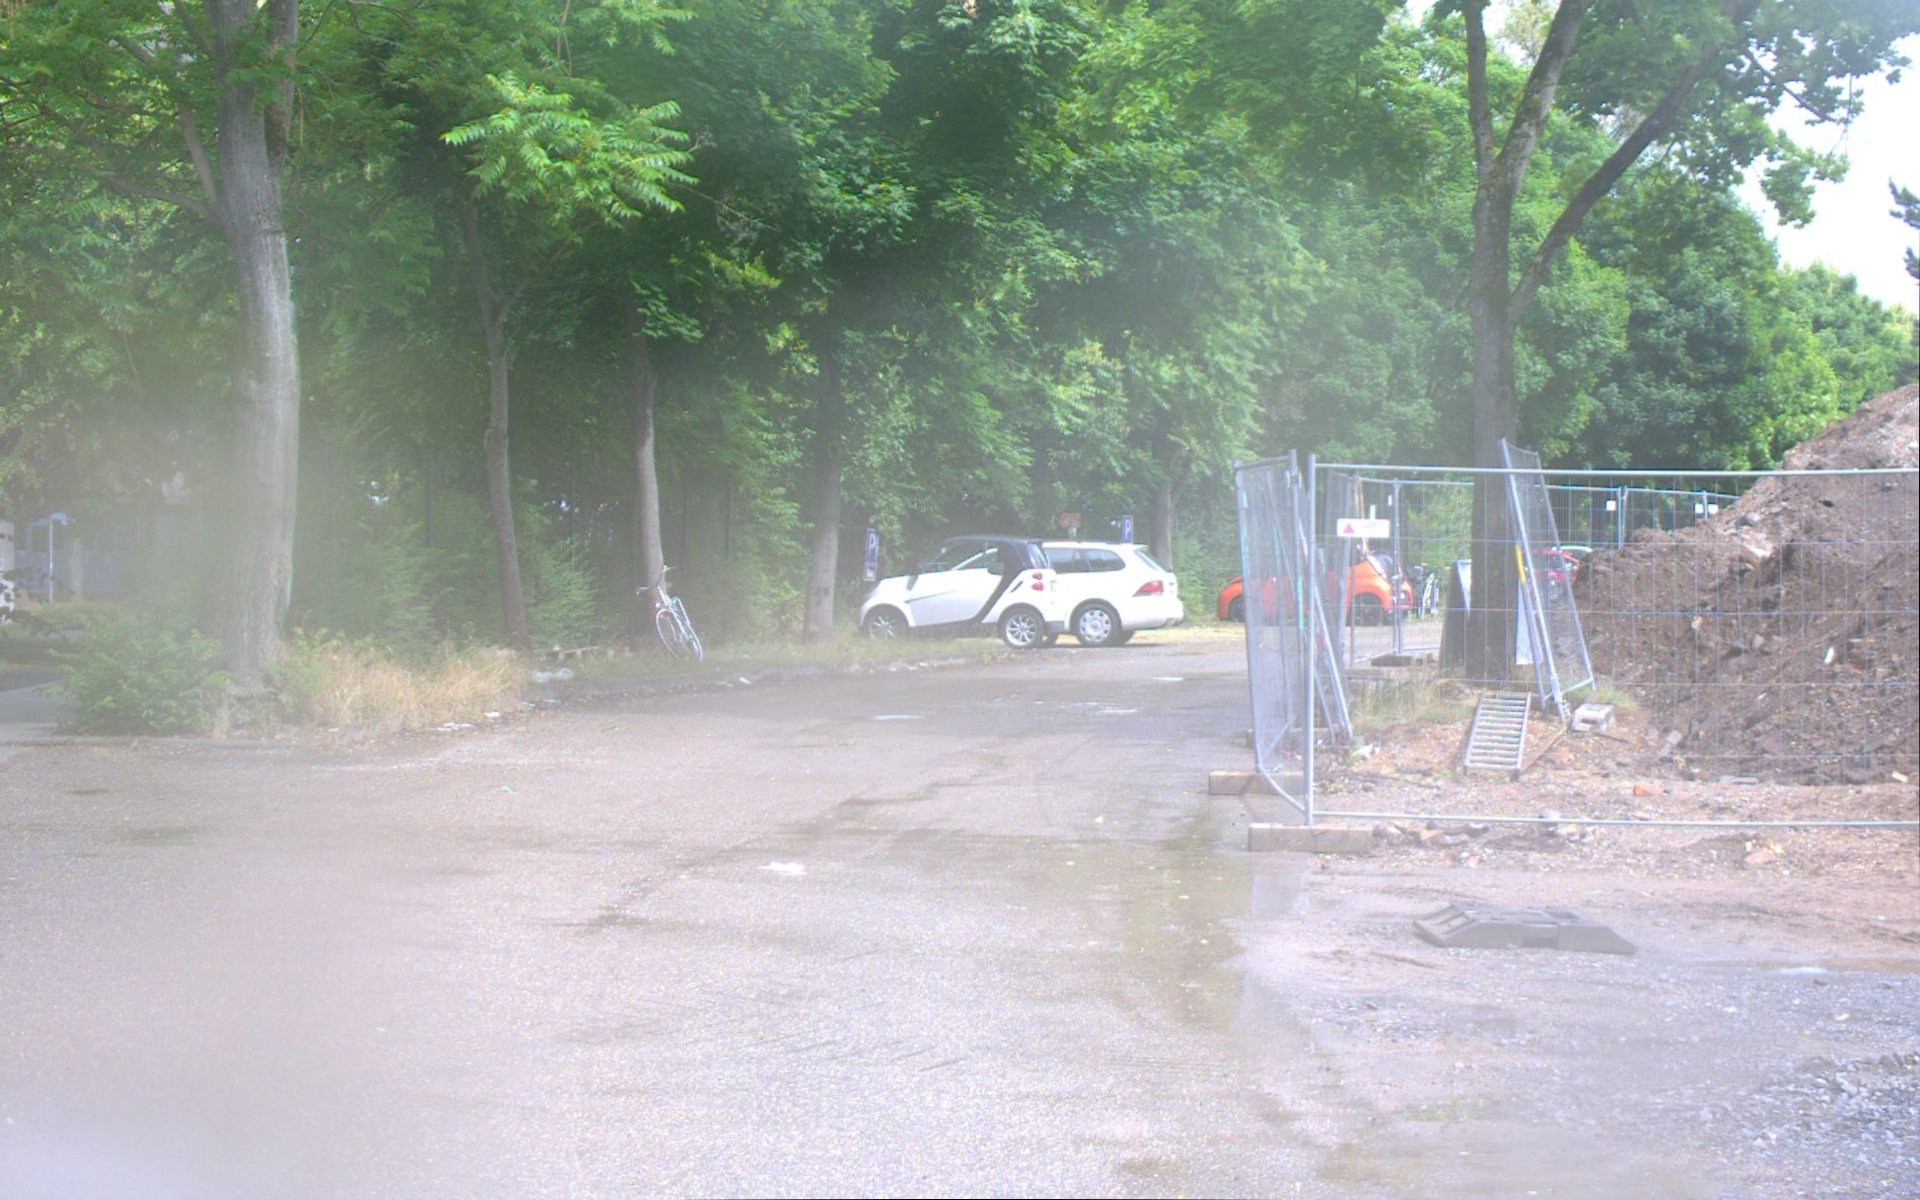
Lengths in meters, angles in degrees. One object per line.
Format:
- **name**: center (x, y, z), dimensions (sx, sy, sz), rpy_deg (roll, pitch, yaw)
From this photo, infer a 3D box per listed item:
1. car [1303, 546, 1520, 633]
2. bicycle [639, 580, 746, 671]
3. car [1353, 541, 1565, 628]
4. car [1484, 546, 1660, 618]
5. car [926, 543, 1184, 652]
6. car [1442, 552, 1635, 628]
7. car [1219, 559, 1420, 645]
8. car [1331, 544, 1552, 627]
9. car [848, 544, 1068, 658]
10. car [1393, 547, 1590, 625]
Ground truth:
- **car**: center (8.792, -0.231, 66.883), dimensions (3.797, 1.524, 1.907), rpy_deg (2, 2, 22)
- **bicycle**: center (-2.701, 0.250, 34.818), dimensions (0.476, 0.857, 1.454), rpy_deg (2, 2, 22)
- **car**: center (10.393, -0.336, 71.609), dimensions (4.111, 1.644, 1.845), rpy_deg (2, 2, 17)
- **car**: center (14.625, -0.450, 82.105), dimensions (3.860, 1.568, 1.956), rpy_deg (2, 2, 18)
- **car**: center (1.368, -0.054, 48.539), dimensions (3.433, 1.463, 1.740), rpy_deg (0, 2, 10)
- **car**: center (12.985, -0.241, 77.143), dimensions (3.991, 1.554, 1.762), rpy_deg (2, 2, 19)
- **car**: center (6.567, 0.014, 62.789), dimensions (3.288, 1.420, 1.590), rpy_deg (2, 2, 24)
- **car**: center (9.653, -0.303, 68.851), dimensions (3.991, 1.491, 1.992), rpy_deg (2, 2, 21)
- **car**: center (-0.012, -0.003, 46.494), dimensions (2.755, 1.479, 1.592), rpy_deg (0, 2, 10)
- **car**: center (11.410, -0.309, 73.742), dimensions (3.945, 1.511, 1.805), rpy_deg (2, 2, 16)
